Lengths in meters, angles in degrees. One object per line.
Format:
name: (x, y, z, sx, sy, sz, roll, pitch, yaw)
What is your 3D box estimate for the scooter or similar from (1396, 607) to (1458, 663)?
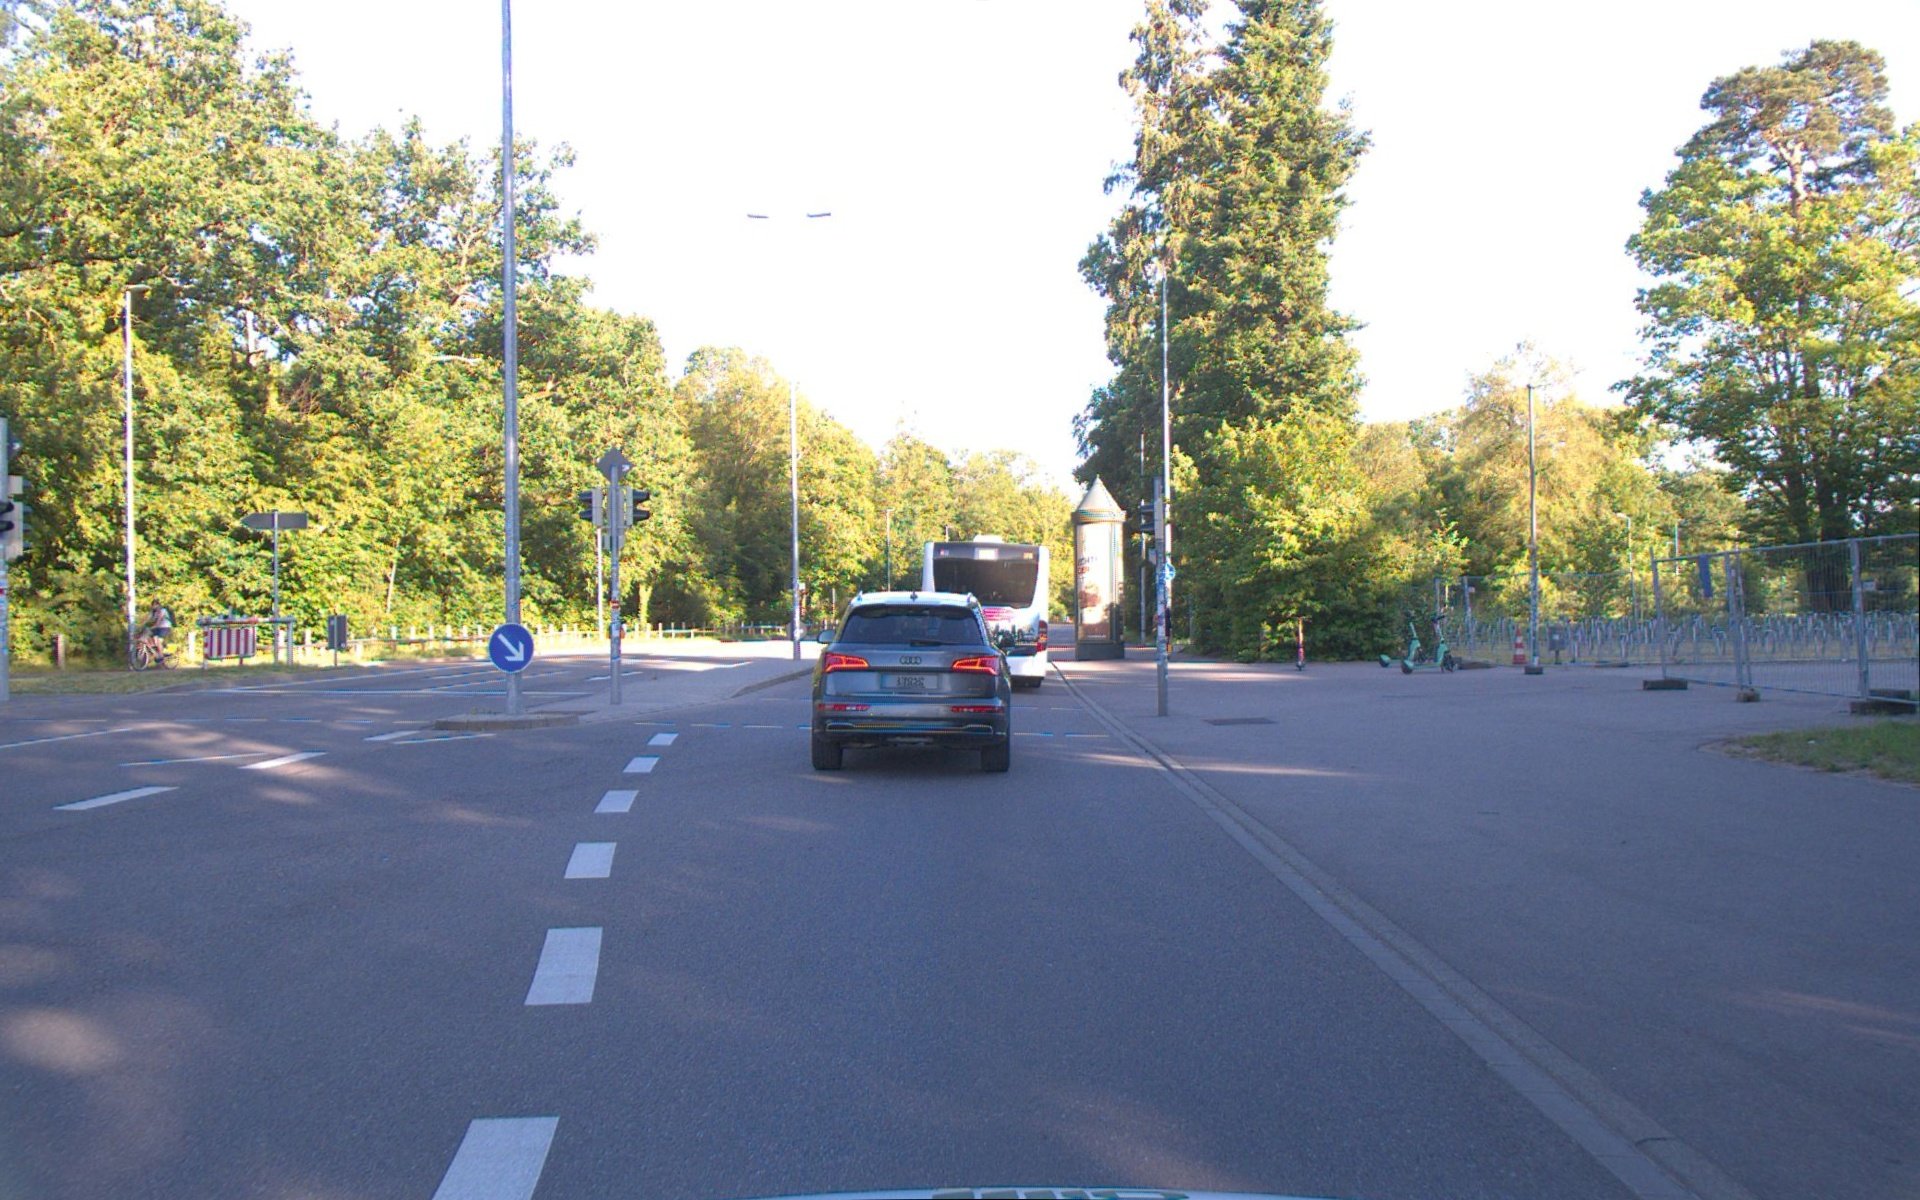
scooter or similar: (10.113, 0.763, 35.840, 1.220, 1.187, 0.394, -2, -2, 25)

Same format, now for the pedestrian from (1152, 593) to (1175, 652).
pedestrian: (5.990, 0.659, 48.729, 0.612, 1.718, 0.883, 1, -1, 10)

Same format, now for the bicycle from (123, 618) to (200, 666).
bicycle: (-21.278, 1.096, 44.103, 0.665, 1.174, 1.985, 1, 1, 18)

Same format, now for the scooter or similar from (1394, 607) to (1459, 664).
scooter or similar: (9.928, 0.763, 35.201, 1.238, 1.167, 0.394, -2, -2, 8)

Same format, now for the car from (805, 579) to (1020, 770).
car: (-0.426, 0.663, 16.744, 1.854, 1.633, 4.544, 1, 0, 0)

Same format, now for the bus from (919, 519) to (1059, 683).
bus: (0.525, 0.074, 37.533, 2.635, 3.096, 12.039, 1, -1, 0)

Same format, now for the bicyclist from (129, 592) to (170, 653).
bicyclist: (-21.408, 0.585, 43.696, 0.550, 1.578, 0.801, 1, 2, 18)

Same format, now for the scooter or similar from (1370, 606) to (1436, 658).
scooter or similar: (10.384, 0.756, 38.763, 1.411, 1.187, 0.393, -2, -2, 30)

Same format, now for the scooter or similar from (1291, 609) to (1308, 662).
scooter or similar: (7.923, 0.818, 38.605, 0.275, 1.192, 1.410, -2, 0, 9)
